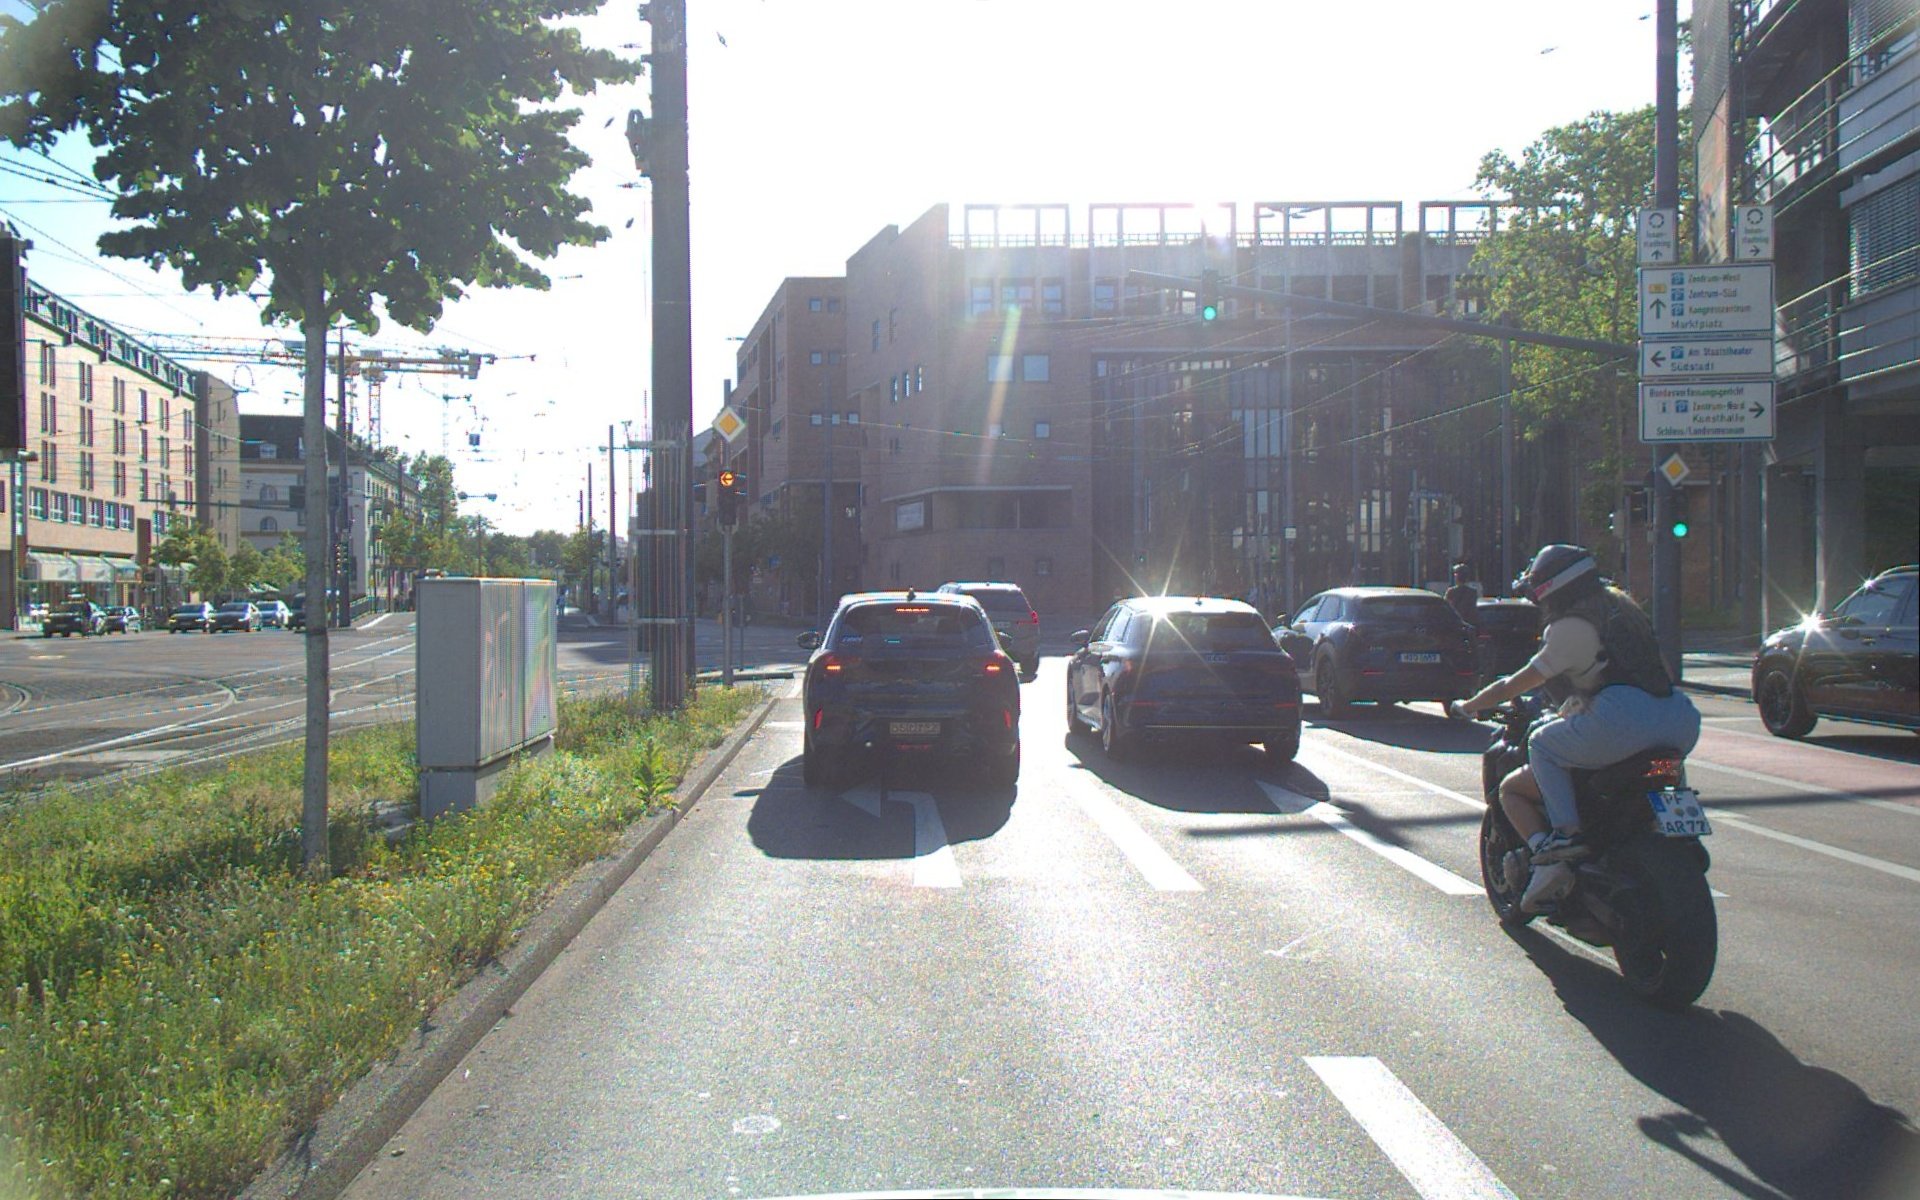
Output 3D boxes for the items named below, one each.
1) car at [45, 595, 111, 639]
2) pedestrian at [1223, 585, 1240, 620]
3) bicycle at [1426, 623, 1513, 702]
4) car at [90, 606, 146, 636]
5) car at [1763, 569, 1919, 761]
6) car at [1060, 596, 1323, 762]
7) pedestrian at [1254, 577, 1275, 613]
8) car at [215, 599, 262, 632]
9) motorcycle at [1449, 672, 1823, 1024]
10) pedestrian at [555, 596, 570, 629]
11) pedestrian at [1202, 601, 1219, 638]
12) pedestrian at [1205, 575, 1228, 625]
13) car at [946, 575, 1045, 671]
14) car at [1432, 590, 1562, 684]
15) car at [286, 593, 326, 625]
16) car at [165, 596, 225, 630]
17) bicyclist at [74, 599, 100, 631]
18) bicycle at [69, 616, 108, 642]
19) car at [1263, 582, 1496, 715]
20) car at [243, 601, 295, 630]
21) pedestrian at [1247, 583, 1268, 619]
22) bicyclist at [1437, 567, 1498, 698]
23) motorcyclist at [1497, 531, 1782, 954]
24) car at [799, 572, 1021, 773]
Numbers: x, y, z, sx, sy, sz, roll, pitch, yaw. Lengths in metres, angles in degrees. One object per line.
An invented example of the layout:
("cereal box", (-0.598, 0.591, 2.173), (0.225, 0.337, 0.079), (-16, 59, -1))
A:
("car", (-43.461, 0.816, 81.562), (1.961, 2.049, 3.984), (-1, 0, -15))
("pedestrian", (12.711, 0.115, 77.516), (0.722, 1.645, 0.561), (-1, 0, 6))
("bicycle", (7.206, 0.862, 23.489), (0.481, 1.015, 2.328), (-1, 0, -1))
("car", (-44.987, 1.110, 88.450), (1.854, 1.536, 3.984), (-1, 0, -15))
("car", (9.844, 0.583, 15.961), (1.953, 1.780, 4.327), (-1, 0, -2))
("car", (2.083, 0.655, 15.971), (1.703, 1.373, 3.996), (0, 0, -4))
("pedestrian", (14.039, -0.254, 76.245), (0.881, 1.645, 0.561), (-1, 0, 6))
("car", (-34.938, 0.733, 80.168), (1.718, 1.531, 3.859), (-1, 0, -19))
("motorcycle", (2.682, 0.922, 6.834), (0.759, 1.135, 1.969), (-1, 0, 1))
("pedestrian", (-20.690, 0.649, 86.057), (0.730, 1.669, 0.765), (-1, 0, -15))
("pedestrian", (9.885, 0.754, 65.278), (0.519, 1.455, 0.598), (-1, 0, -2))
("pedestrian", (9.172, -0.012, 59.159), (0.692, 1.789, 0.560), (-1, 0, 23))
("car", (0.608, 0.390, 31.095), (1.702, 1.680, 3.999), (0, 0, -1))
("car", (9.489, 0.593, 29.047), (1.953, 1.444, 4.000), (2, 1, 21))
("car", (-33.233, 0.442, 84.099), (1.718, 1.531, 3.859), (-1, 0, -19))
("car", (-38.676, 0.648, 83.742), (1.961, 1.624, 4.719), (-1, 0, -15))
("bicyclist", (-38.919, 0.670, 73.717), (0.743, 1.399, 0.949), (-1, 0, -10))
("bicycle", (-38.948, 1.291, 73.931), (0.638, 1.104, 2.920), (-1, 0, -10))
("car", (5.110, 0.537, 20.686), (1.771, 1.482, 3.999), (1, 0, -2))
("car", (-37.468, 0.818, 89.782), (1.542, 1.474, 3.994), (-1, 0, -7))
("pedestrian", (13.480, 0.048, 74.984), (0.881, 1.645, 0.561), (-1, 0, 6))
("bicyclist", (7.203, 0.448, 23.489), (0.565, 1.822, 0.863), (-1, 0, -1))
("motorcyclist", (2.675, 0.522, 6.617), (0.729, 1.557, 1.021), (-1, 0, 1))
("car", (-0.395, 0.521, 14.094), (1.616, 1.458, 3.999), (0, 0, -1))
